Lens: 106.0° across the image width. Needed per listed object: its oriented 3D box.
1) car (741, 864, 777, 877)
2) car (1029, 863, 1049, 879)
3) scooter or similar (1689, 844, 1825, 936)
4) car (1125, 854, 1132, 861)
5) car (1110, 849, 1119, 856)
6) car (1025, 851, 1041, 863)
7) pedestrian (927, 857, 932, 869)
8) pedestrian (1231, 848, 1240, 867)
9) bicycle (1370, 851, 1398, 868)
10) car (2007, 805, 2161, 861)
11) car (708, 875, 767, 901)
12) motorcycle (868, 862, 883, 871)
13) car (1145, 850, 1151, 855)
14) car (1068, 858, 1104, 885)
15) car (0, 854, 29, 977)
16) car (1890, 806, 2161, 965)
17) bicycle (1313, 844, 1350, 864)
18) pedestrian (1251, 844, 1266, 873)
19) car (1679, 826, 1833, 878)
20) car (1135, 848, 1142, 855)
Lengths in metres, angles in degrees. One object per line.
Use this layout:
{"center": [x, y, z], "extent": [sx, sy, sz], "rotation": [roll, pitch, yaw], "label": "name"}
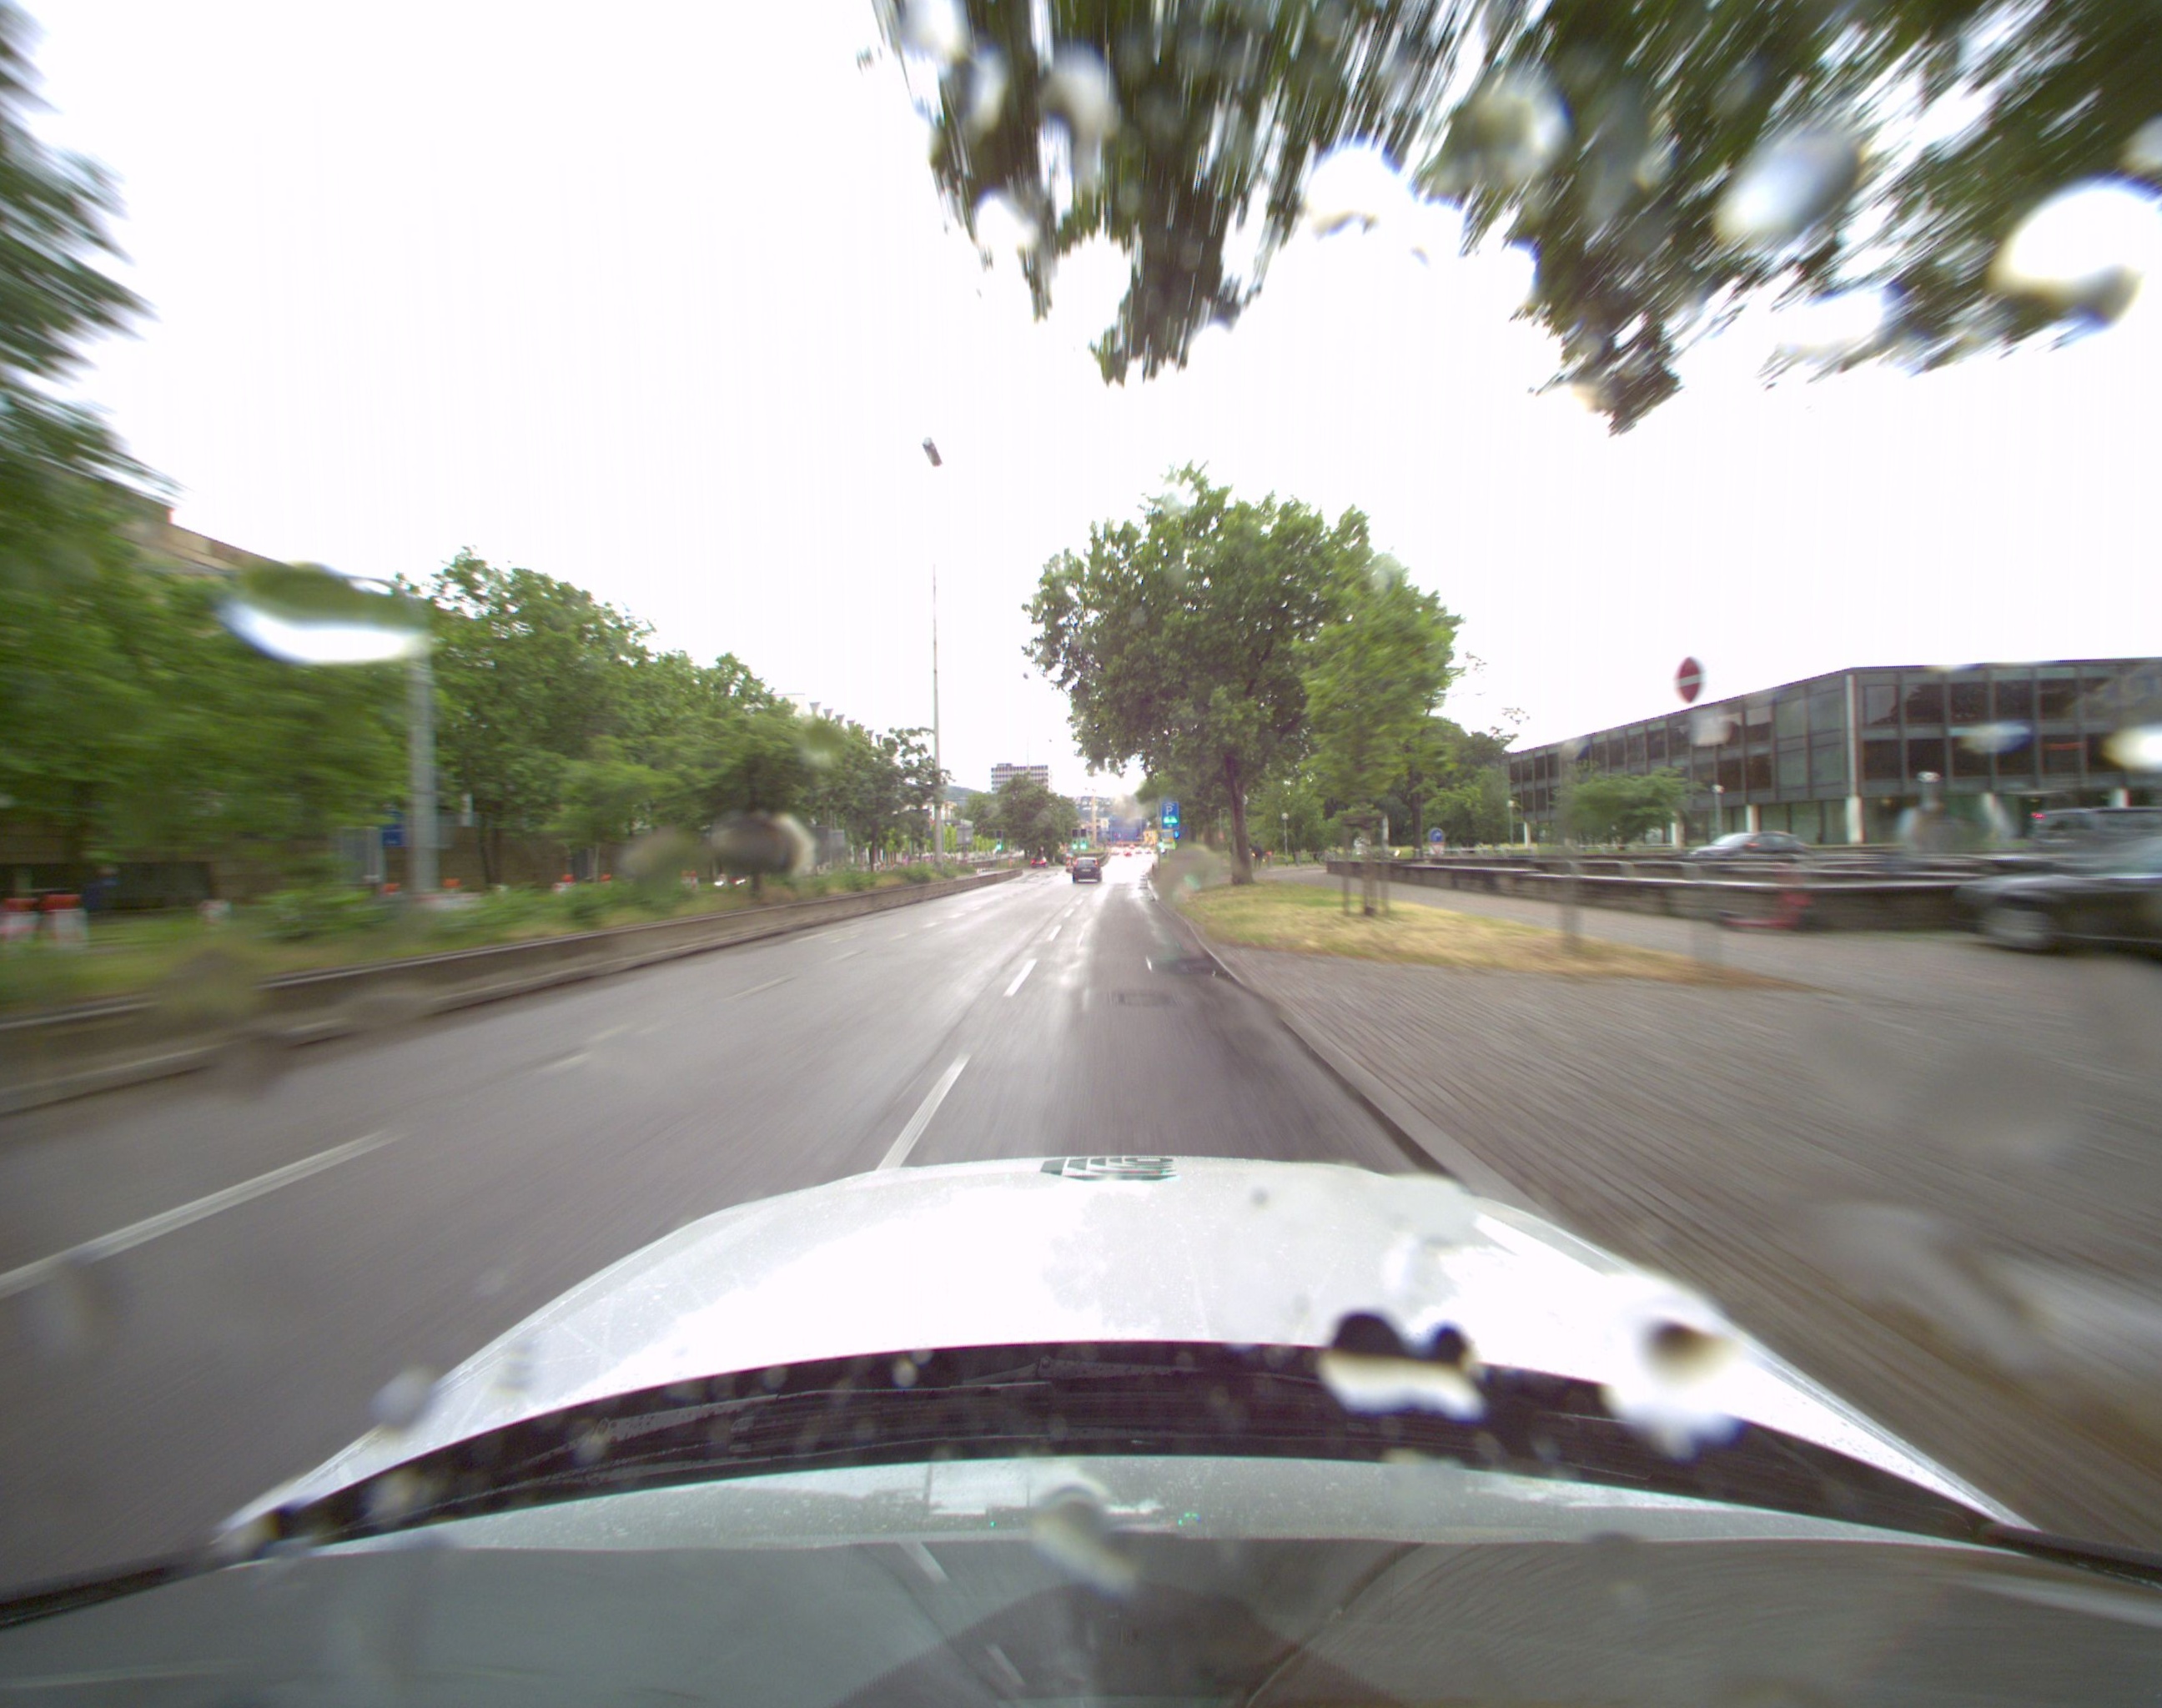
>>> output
{"center": [-43.594, 2.250, 110.241], "extent": [3.974, 1.596, 2.000], "rotation": [-1, 0, 0], "label": "car"}
{"center": [-5.261, 2.080, 101.589], "extent": [1.985, 1.781, 4.004], "rotation": [-2, 0, 4], "label": "car"}
{"center": [10.004, 0.511, 12.101], "extent": [0.545, 1.255, 1.423], "rotation": [-2, 0, -30], "label": "scooter or similar"}
{"center": [12.897, 0.888, 221.280], "extent": [1.732, 1.771, 4.002], "rotation": [-3, -1, 3], "label": "car"}
{"center": [9.966, -0.326, 240.205], "extent": [2.207, 2.013, 4.010], "rotation": [-1, 0, 9], "label": "car"}
{"center": [-6.679, 0.465, 114.031], "extent": [1.988, 1.632, 3.997], "rotation": [-1, 0, -2], "label": "car"}
{"center": [-26.952, 1.591, 144.984], "extent": [0.543, 2.013, 0.525], "rotation": [-2, 0, -32], "label": "pedestrian"}
{"center": [14.355, 0.300, 75.836], "extent": [0.592, 1.755, 0.725], "rotation": [-3, 0, 0], "label": "pedestrian"}
{"center": [20.685, 0.381, 55.647], "extent": [1.637, 1.085, 0.709], "rotation": [-2, 1, -3], "label": "bicycle"}
{"center": [35.173, -0.708, 27.541], "extent": [4.992, 1.764, 2.460], "rotation": [-1, 0, -1], "label": "car"}
{"center": [-22.675, 2.217, 53.890], "extent": [1.985, 1.530, 4.003], "rotation": [-3, -1, 3], "label": "car"}
{"center": [-27.991, 1.697, 110.906], "extent": [1.843, 1.154, 0.423], "rotation": [-2, 0, -25], "label": "motorcycle"}
{"center": [21.316, -0.467, 258.672], "extent": [1.984, 1.599, 4.006], "rotation": [-3, -1, 6], "label": "car"}
{"center": [0.253, 1.040, 48.325], "extent": [1.840, 1.416, 3.834], "rotation": [-3, -1, -4], "label": "car"}
{"center": [-15.013, 0.822, 8.832], "extent": [1.988, 1.596, 3.998], "rotation": [-1, 0, -1], "label": "car"}
{"center": [11.915, 0.302, 8.401], "extent": [1.987, 1.609, 5.236], "rotation": [-1, 1, 0], "label": "car"}
{"center": [16.003, 0.000, 52.098], "extent": [2.033, 1.173, 0.957], "rotation": [-2, 0, -8], "label": "bicycle"}
{"center": [10.889, 0.286, 49.971], "extent": [0.702, 1.718, 0.693], "rotation": [-3, 0, 3], "label": "pedestrian"}
{"center": [23.919, -0.072, 28.980], "extent": [3.969, 1.600, 1.658], "rotation": [-3, 0, 4], "label": "car"}
{"center": [18.112, -0.811, 256.151], "extent": [1.979, 2.013, 4.004], "rotation": [-1, 0, 4], "label": "car"}
